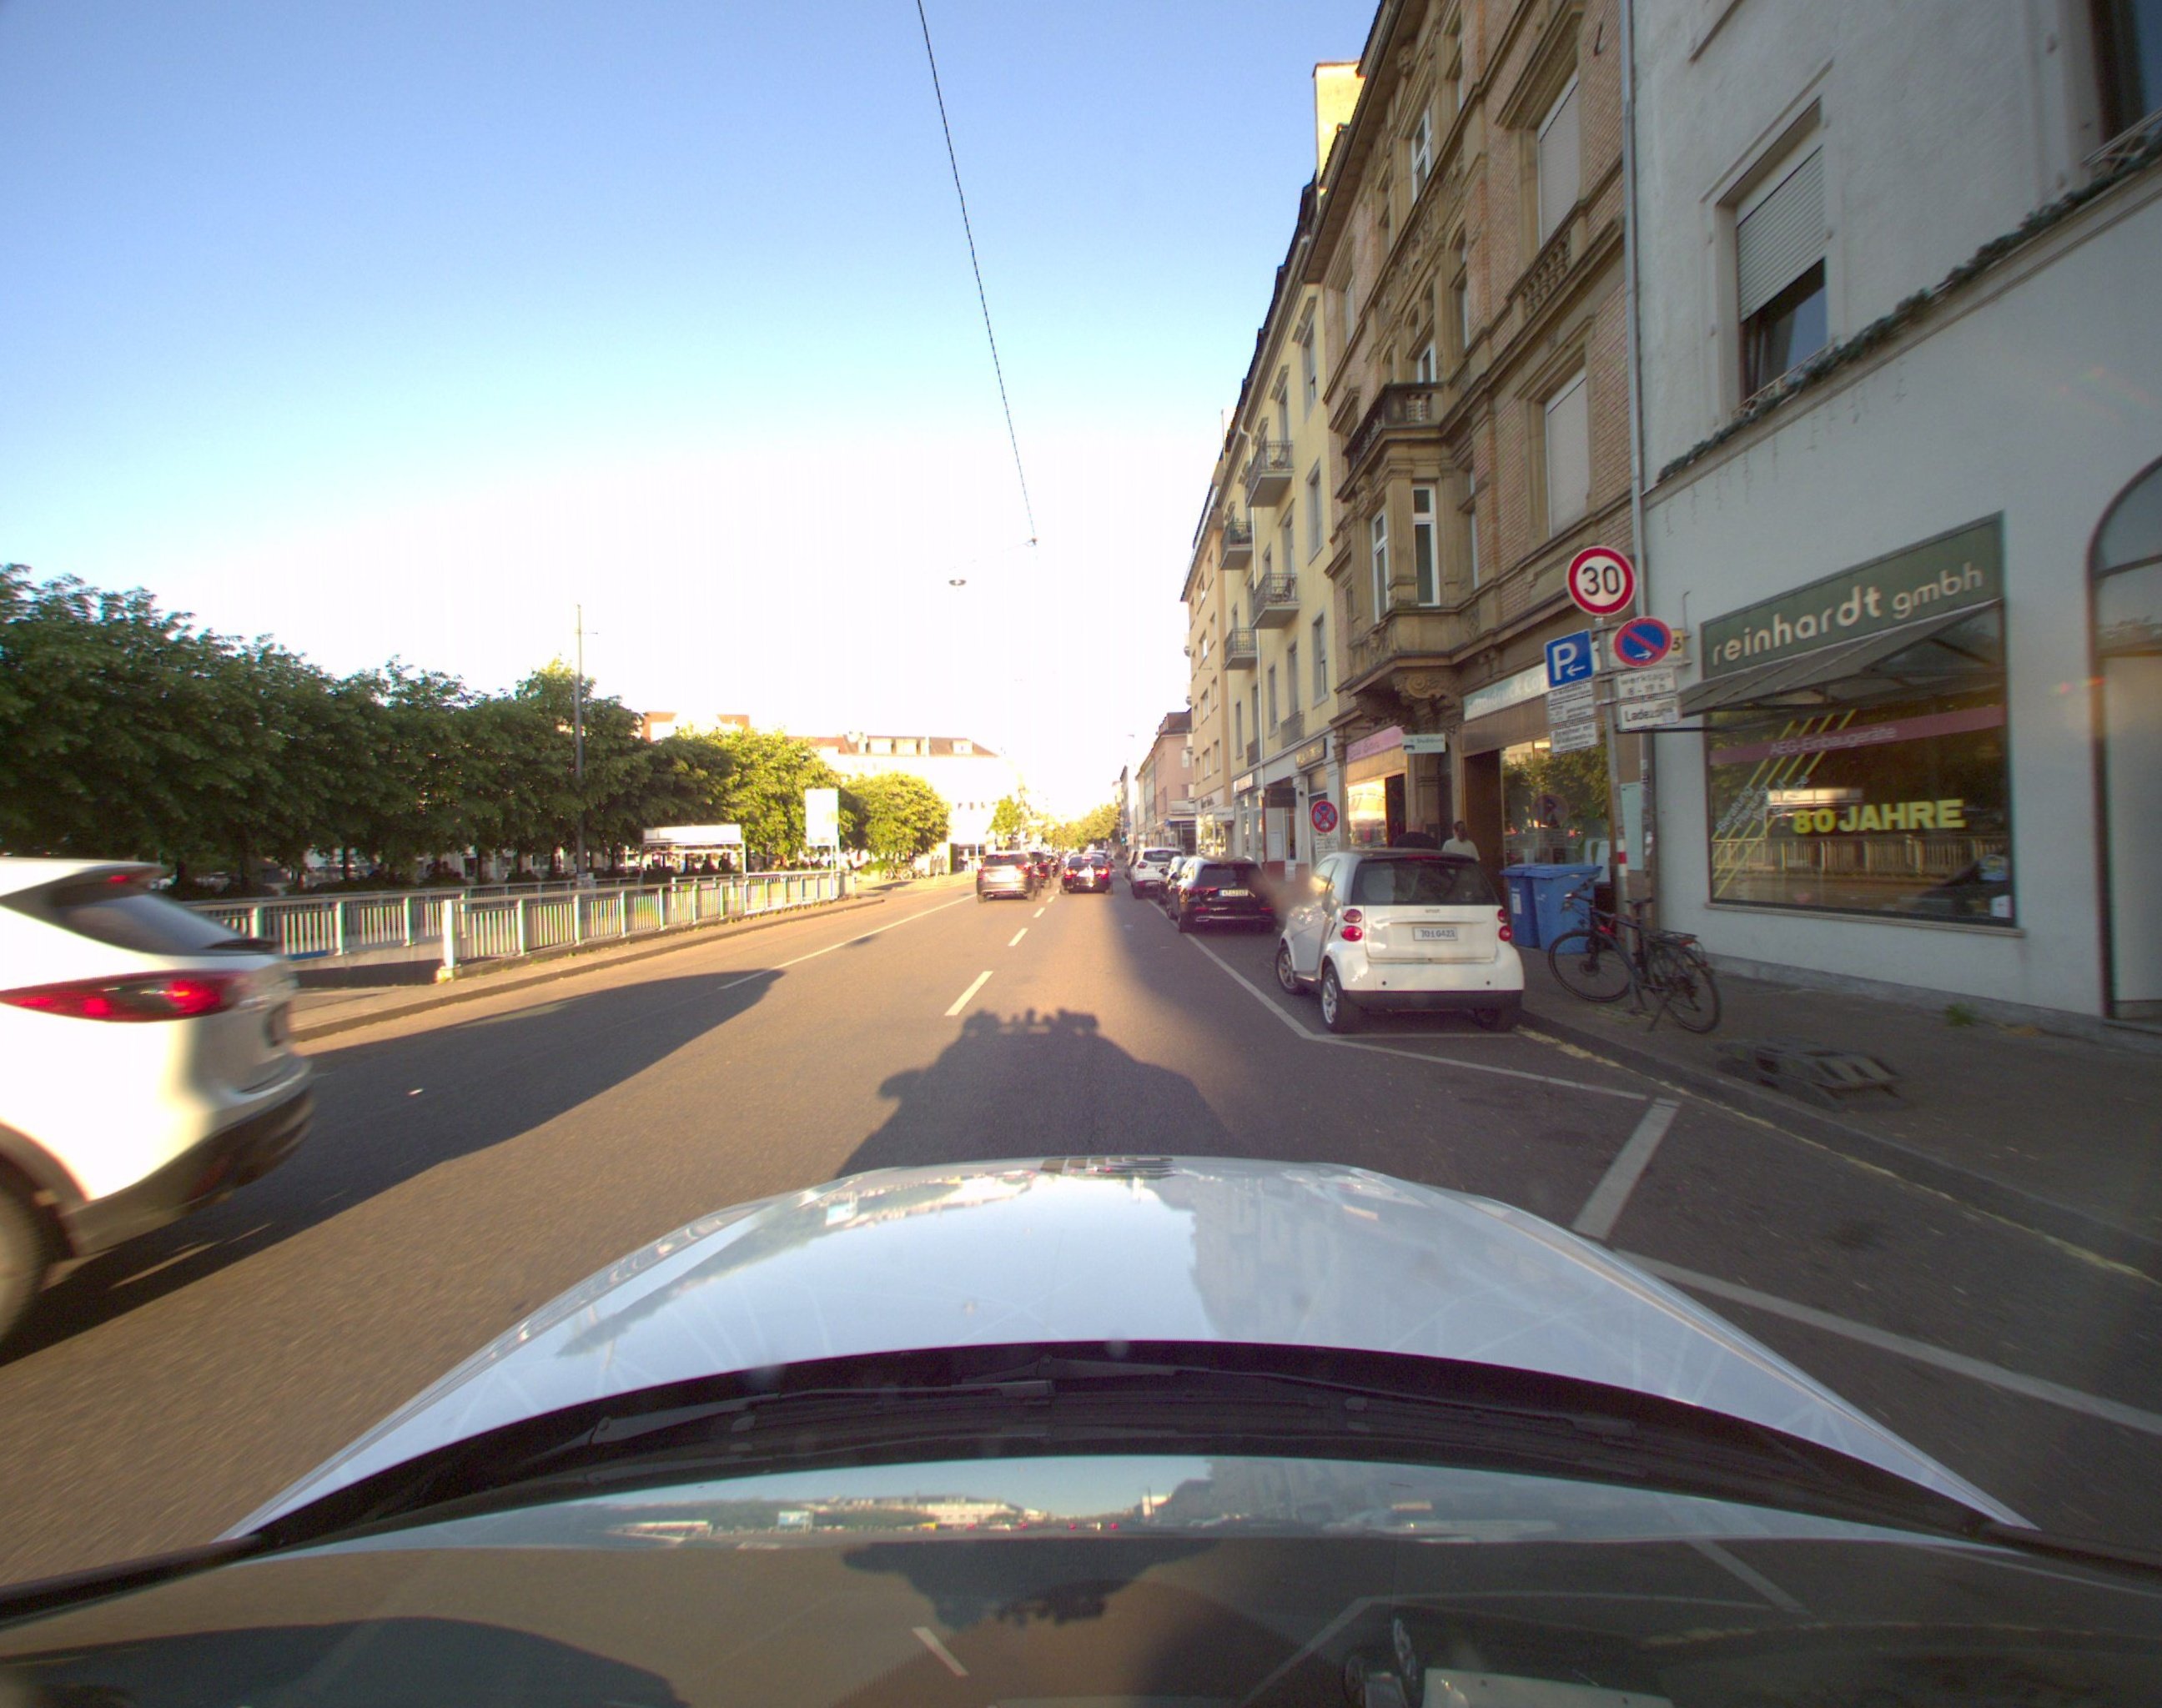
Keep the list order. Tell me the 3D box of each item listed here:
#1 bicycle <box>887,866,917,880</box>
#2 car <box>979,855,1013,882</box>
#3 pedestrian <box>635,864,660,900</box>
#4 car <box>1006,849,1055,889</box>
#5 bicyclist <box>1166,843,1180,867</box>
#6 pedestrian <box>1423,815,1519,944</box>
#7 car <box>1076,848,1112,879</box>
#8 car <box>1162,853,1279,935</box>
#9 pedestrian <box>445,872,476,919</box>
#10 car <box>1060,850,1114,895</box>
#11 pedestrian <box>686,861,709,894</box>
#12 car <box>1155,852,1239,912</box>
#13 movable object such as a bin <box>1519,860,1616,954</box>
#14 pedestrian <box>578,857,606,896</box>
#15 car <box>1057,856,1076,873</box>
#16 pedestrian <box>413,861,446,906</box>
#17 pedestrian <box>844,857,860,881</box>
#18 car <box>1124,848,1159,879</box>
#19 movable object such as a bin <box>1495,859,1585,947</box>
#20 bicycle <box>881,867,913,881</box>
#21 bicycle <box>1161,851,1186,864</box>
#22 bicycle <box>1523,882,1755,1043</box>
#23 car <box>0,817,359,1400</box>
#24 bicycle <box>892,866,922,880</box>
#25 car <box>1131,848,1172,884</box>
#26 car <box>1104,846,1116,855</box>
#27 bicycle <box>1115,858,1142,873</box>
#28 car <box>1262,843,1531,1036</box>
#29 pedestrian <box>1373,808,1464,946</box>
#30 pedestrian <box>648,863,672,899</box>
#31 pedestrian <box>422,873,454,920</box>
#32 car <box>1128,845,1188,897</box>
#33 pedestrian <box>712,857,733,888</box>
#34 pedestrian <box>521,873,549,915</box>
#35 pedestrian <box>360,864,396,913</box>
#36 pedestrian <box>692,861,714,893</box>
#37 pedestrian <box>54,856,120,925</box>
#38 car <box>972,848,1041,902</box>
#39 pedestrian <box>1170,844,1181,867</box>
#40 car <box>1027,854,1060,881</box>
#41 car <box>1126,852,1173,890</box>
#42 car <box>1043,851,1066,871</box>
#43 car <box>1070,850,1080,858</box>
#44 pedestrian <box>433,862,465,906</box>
[{"bbox_3d":[-11.714,1.237,53.290,1.821,0.853,0.483,1,0,-4],"label":"bicycle"},{"bbox_3d":[-5.493,0.879,52.883,1.686,1.552,3.951,-4,0,0],"label":"car"},{"bbox_3d":[-19.644,1.255,36.922,0.672,1.595,0.680,-1,0,20],"label":"pedestrian"},{"bbox_3d":[-2.161,0.626,36.051,1.891,1.649,4.103,-1,0,0],"label":"car"},{"bbox_3d":[7.006,0.065,61.898,0.823,1.777,0.612,-1,0,27],"label":"bicyclist"},{"bbox_3d":[5.512,0.342,11.572,0.770,1.711,1.042,-3,0,0],"label":"pedestrian"},{"bbox_3d":[0.682,0.497,44.783,1.890,1.581,4.000,0,0,0],"label":"car"},{"bbox_3d":[2.704,0.727,16.790,1.723,1.448,4.525,0,0,1],"label":"car"},{"bbox_3d":[-21.811,1.456,28.618,0.672,1.595,0.571,-1,0,20],"label":"pedestrian"},{"bbox_3d":[0.225,0.654,30.598,1.890,1.581,4.000,0,0,0],"label":"car"},{"bbox_3d":[-18.721,1.152,39.751,0.783,1.595,0.571,-1,0,20],"label":"pedestrian"},{"bbox_3d":[3.019,0.700,21.980,1.723,1.448,4.474,0,0,1],"label":"car"},{"bbox_3d":[6.001,0.634,10.081,0.772,1.070,0.618,-4,0,0],"label":"movable object such as a bin"},{"bbox_3d":[-20.321,0.917,33.828,0.672,1.595,0.680,-1,0,20],"label":"pedestrian"},{"bbox_3d":[-1.432,1.042,79.792,1.774,1.547,3.999,-1,0,0],"label":"car"},{"bbox_3d":[-23.989,1.077,29.989,0.783,1.595,0.571,-1,0,20],"label":"pedestrian"},{"bbox_3d":[-15.203,0.990,54.031,0.783,1.595,0.571,-1,0,20],"label":"pedestrian"},{"bbox_3d":[3.336,0.499,45.405,1.723,1.652,3.971,0,0,1],"label":"car"},{"bbox_3d":[6.035,0.624,10.743,0.772,1.070,0.618,-4,0,0],"label":"movable object such as a bin"},{"bbox_3d":[-11.423,1.254,50.576,1.821,0.853,0.483,1,0,-4],"label":"bicycle"},{"bbox_3d":[7.021,0.288,61.907,1.749,0.967,0.493,-1,0,27],"label":"bicycle"},{"bbox_3d":[4.380,0.783,6.593,0.502,1.016,1.947,-2,0,0],"label":"bicycle"},{"bbox_3d":[-5.085,0.835,2.258,4.489,1.761,1.977,-2,0,-40],"label":"car"},{"bbox_3d":[-11.182,1.248,52.379,1.821,0.853,0.483,1,0,-4],"label":"bicycle"},{"bbox_3d":[3.323,0.564,39.184,1.723,1.652,3.829,0,0,1],"label":"car"},{"bbox_3d":[5.161,-0.600,145.871,1.891,1.581,3.851,-3,0,0],"label":"car"},{"bbox_3d":[3.215,0.809,55.316,1.757,0.967,0.491,-1,0,5],"label":"bicycle"},{"bbox_3d":[2.909,0.700,8.225,1.526,1.536,3.284,-1,0,2],"label":"car"},{"bbox_3d":[4.740,0.307,11.502,0.770,1.827,1.010,-3,0,0],"label":"pedestrian"},{"bbox_3d":[-19.406,1.237,37.573,0.672,1.595,0.680,-1,0,20],"label":"pedestrian"},{"bbox_3d":[-22.081,1.456,27.969,0.672,1.595,0.571,-1,0,20],"label":"pedestrian"},{"bbox_3d":[2.573,0.543,27.917,1.724,1.650,4.285,0,0,1],"label":"car"},{"bbox_3d":[-18.605,0.966,42.229,0.783,1.595,0.571,-1,0,20],"label":"pedestrian"},{"bbox_3d":[-21.119,1.540,31.503,0.672,1.595,0.571,-1,0,20],"label":"pedestrian"},{"bbox_3d":[-23.455,1.150,27.168,0.783,1.595,0.571,-1,0,20],"label":"pedestrian"},{"bbox_3d":[-18.902,1.145,40.762,0.783,1.595,0.571,-1,0,20],"label":"pedestrian"},{"bbox_3d":[-23.508,0.843,19.271,0.703,1.595,0.673,-1,0,-18],"label":"pedestrian"},{"bbox_3d":[-2.441,0.646,27.527,1.890,1.649,4.104,-1,0,0],"label":"car"},{"bbox_3d":[7.406,0.127,63.789,0.698,1.812,0.634,-1,0,-3],"label":"pedestrian"},{"bbox_3d":[-2.223,0.787,49.429,1.774,1.547,3.999,-1,0,0],"label":"car"},{"bbox_3d":[2.789,0.671,33.677,1.723,1.450,4.314,0,0,2],"label":"car"},{"bbox_3d":[-2.151,0.532,67.714,1.774,1.547,3.999,-1,0,0],"label":"car"},{"bbox_3d":[-1.045,-0.020,150.408,1.774,1.547,3.999,-1,0,0],"label":"car"},{"bbox_3d":[-23.029,1.091,29.685,0.783,1.595,0.571,-1,0,20],"label":"pedestrian"}]
